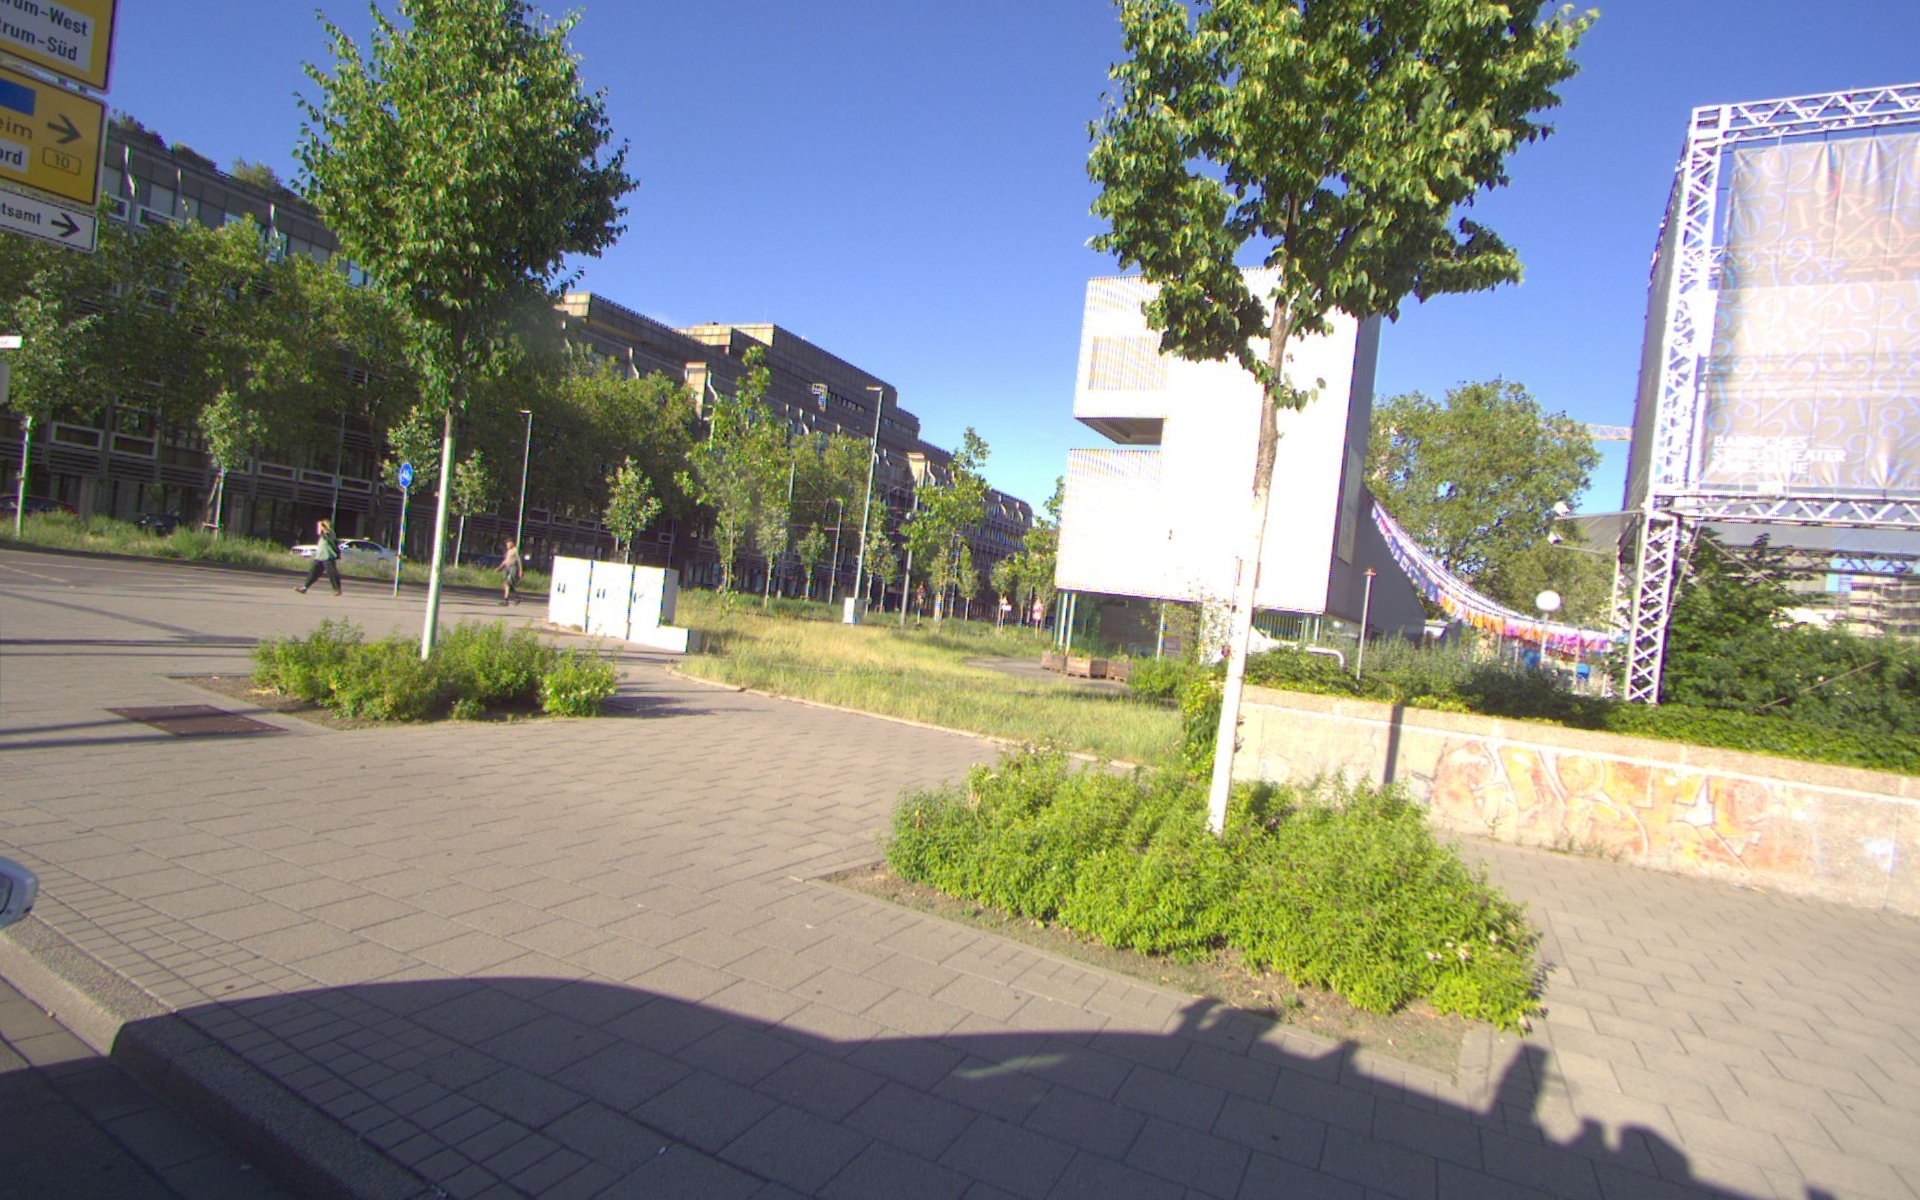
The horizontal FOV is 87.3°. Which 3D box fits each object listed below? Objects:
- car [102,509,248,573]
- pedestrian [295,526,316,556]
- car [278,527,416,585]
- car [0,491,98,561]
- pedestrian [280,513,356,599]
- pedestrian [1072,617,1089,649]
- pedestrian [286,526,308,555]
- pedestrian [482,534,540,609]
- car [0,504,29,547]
[{"bbox_3d":[-34.110,-2.522,43.876,1.965,2.036,4.458,7,-2,27],"label":"car"},{"bbox_3d":[-39.808,-3.566,61.160,0.728,1.678,0.665,7,1,25],"label":"pedestrian"},{"bbox_3d":[-30.674,-2.174,50.579,2.062,2.036,5.455,6,-2,29],"label":"car"},{"bbox_3d":[-33.312,-2.705,35.368,1.966,2.036,3.997,6,-2,29],"label":"car"},{"bbox_3d":[-13.476,-0.910,21.134,0.925,1.650,0.803,7,1,18],"label":"pedestrian"},{"bbox_3d":[6.985,1.906,58.322,0.614,1.750,0.786,7,1,23],"label":"pedestrian"},{"bbox_3d":[-40.632,-3.656,61.649,0.728,1.678,0.665,7,1,25],"label":"pedestrian"},{"bbox_3d":[-11.278,-0.699,25.274,0.925,1.750,0.695,7,1,18],"label":"pedestrian"},{"bbox_3d":[-37.242,-3.037,36.939,1.836,1.525,3.997,7,-2,29],"label":"car"}]
